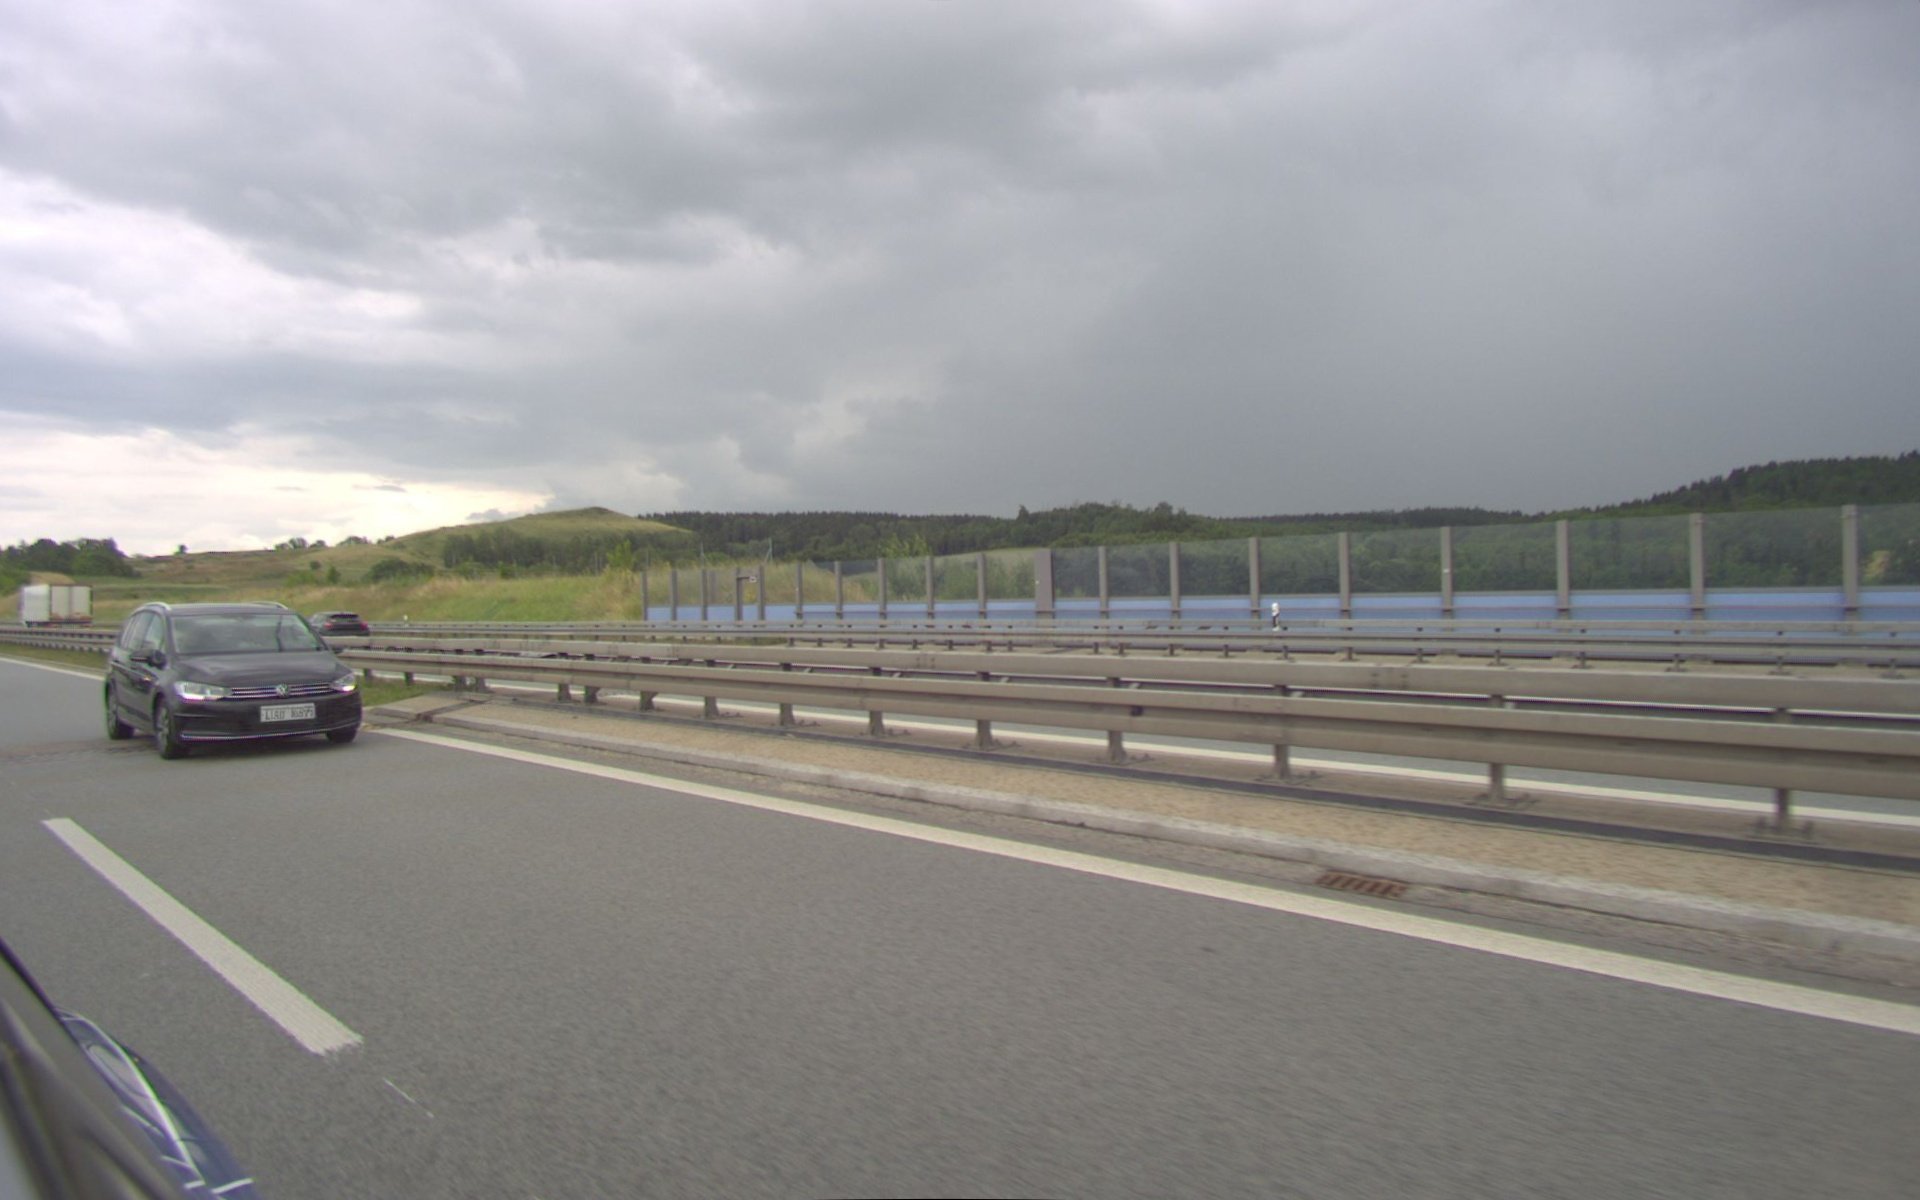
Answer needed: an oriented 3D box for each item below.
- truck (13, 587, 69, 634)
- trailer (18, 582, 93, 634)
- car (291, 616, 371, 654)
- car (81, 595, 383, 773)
[{"bbox_3d":[-80.140,0.921,88.221,5.515,3.955,2.921,-2,0,41],"label":"truck"},{"bbox_3d":[-74.681,0.762,83.395,14.267,3.955,2.887,-2,0,41],"label":"trailer"},{"bbox_3d":[-25.190,1.390,40.466,3.998,1.420,1.614,-2,0,41],"label":"car"},{"bbox_3d":[-8.929,0.849,12.185,5.395,1.683,1.876,-1,0,42],"label":"car"}]
